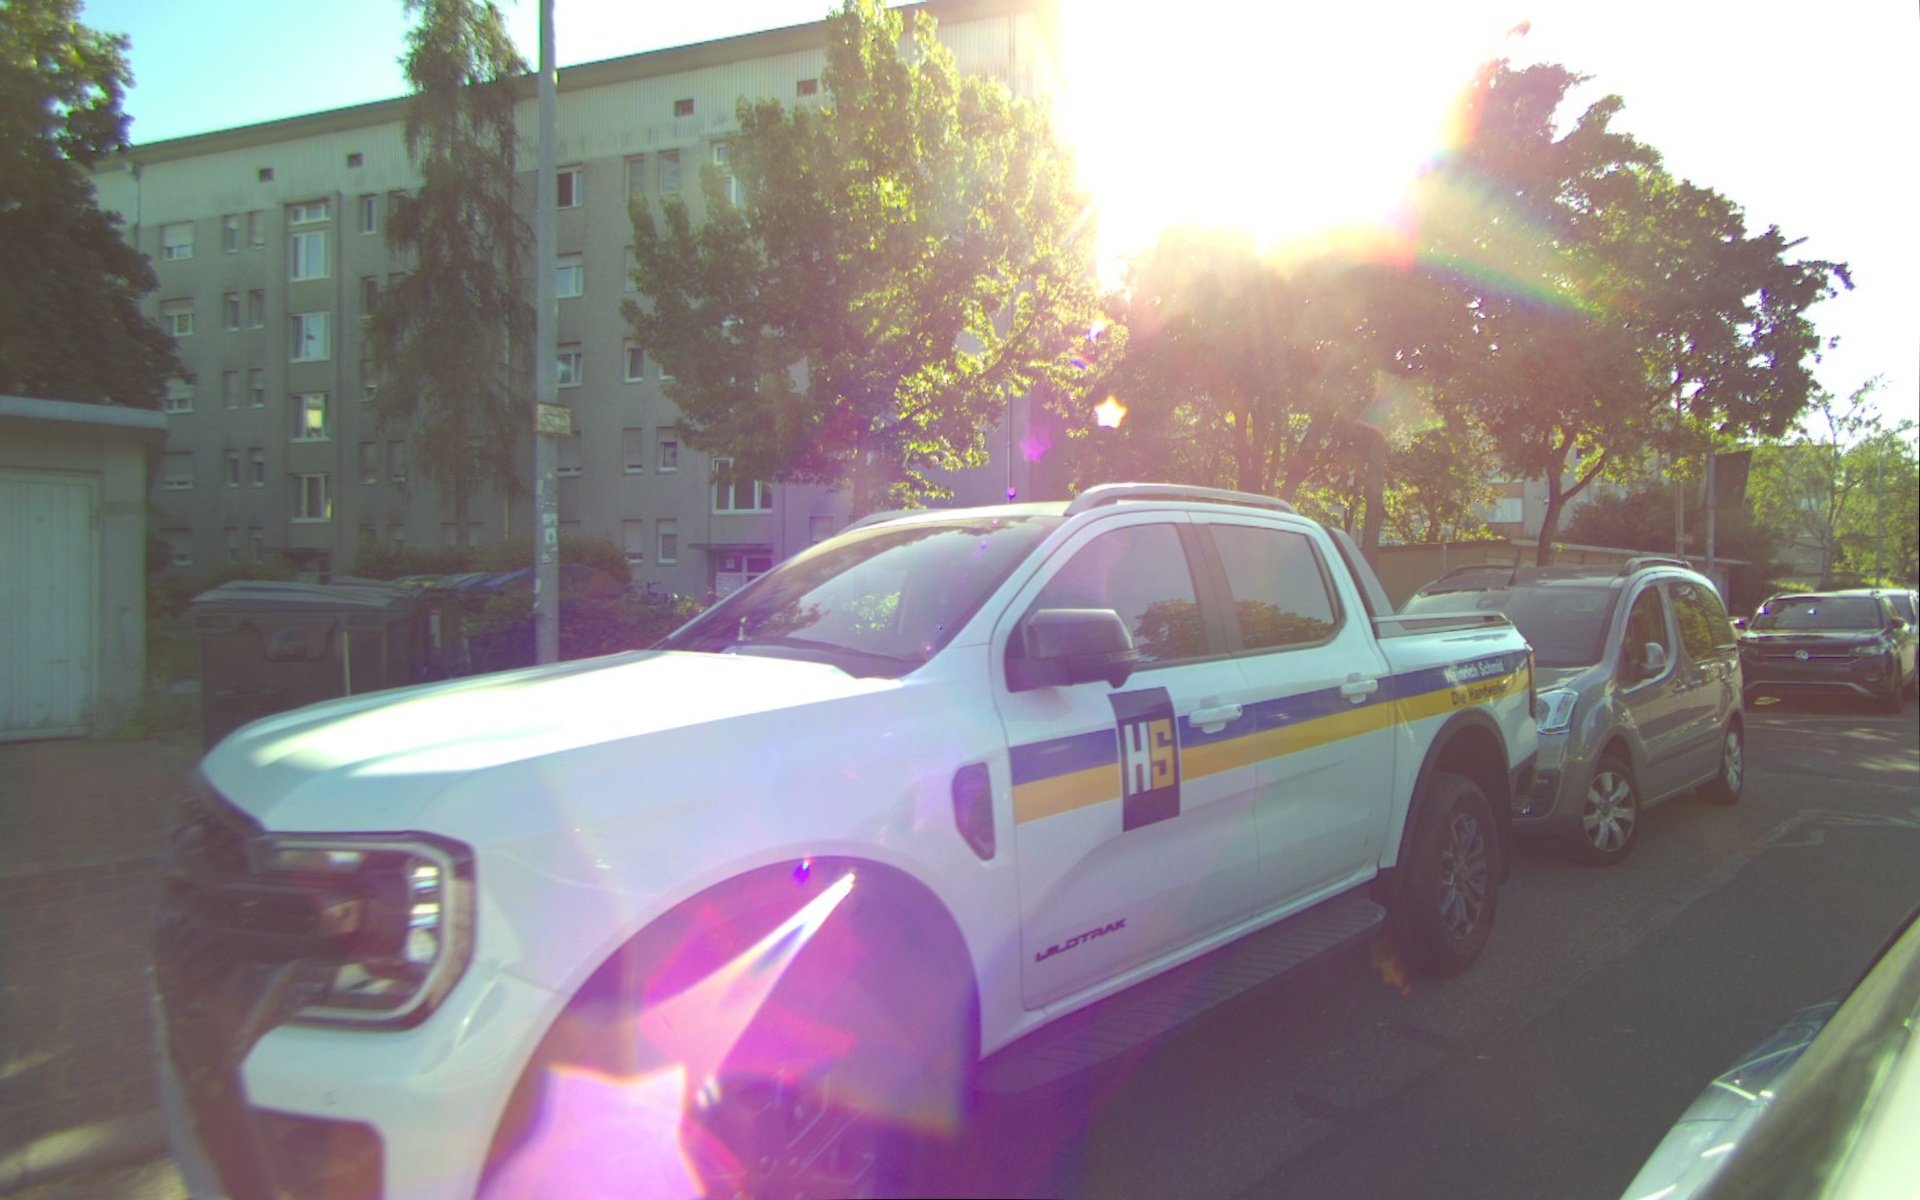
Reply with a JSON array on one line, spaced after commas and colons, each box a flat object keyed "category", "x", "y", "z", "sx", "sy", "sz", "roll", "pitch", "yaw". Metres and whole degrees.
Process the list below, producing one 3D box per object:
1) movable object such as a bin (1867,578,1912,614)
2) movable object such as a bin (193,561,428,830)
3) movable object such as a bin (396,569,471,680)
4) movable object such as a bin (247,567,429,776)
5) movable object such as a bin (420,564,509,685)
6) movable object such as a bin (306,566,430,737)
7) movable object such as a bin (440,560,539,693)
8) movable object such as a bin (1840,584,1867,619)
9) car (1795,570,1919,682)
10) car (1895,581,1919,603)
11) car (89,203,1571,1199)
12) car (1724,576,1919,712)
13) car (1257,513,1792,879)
[{"category": "movable object such as a bin", "x": 39.738, "y": -0.188, "z": 43.256, "sx": 1.160, "sy": 1.459, "sz": 1.276, "roll": -1, "pitch": 3, "yaw": -43}, {"category": "movable object such as a bin", "x": -3.756, "y": 0.467, "z": 5.965, "sx": 1.032, "sy": 1.364, "sz": 1.255, "roll": -2, "pitch": 1, "yaw": -30}, {"category": "movable object such as a bin", "x": -7.136, "y": 0.311, "z": 13.716, "sx": 0.695, "sy": 1.434, "sz": 0.898, "roll": -2, "pitch": 1, "yaw": -41}, {"category": "movable object such as a bin", "x": -4.540, "y": 0.453, "z": 7.469, "sx": 1.032, "sy": 1.364, "sz": 1.255, "roll": -2, "pitch": 1, "yaw": -30}, {"category": "movable object such as a bin", "x": -6.251, "y": 0.281, "z": 12.751, "sx": 0.818, "sy": 1.434, "sz": 1.079, "roll": -2, "pitch": 1, "yaw": -35}, {"category": "movable object such as a bin", "x": -5.111, "y": 0.398, "z": 8.779, "sx": 0.848, "sy": 1.364, "sz": 1.080, "roll": -2, "pitch": 1, "yaw": -30}, {"category": "movable object such as a bin", "x": -5.396, "y": 0.268, "z": 11.584, "sx": 0.818, "sy": 1.434, "sz": 1.079, "roll": -2, "pitch": 1, "yaw": -35}, {"category": "movable object such as a bin", "x": 38.600, "y": 0.057, "z": 43.735, "sx": 0.834, "sy": 1.459, "sz": 0.753, "roll": -1, "pitch": 3, "yaw": -43}, {"category": "car", "x": 15.989, "y": 0.352, "z": 17.486, "sx": 4.299, "sy": 1.629, "sz": 1.771, "roll": -1, "pitch": 6, "yaw": -43}, {"category": "car", "x": 67.795, "y": -0.585, "z": 70.745, "sx": 3.493, "sy": 1.527, "sz": 1.578, "roll": -2, "pitch": 0, "yaw": 44}, {"category": "car", "x": 0.280, "y": 0.468, "z": 3.678, "sx": 5.184, "sy": 1.864, "sz": 1.908, "roll": 0, "pitch": -2, "yaw": -43}, {"category": "car", "x": 12.232, "y": 0.518, "z": 14.094, "sx": 3.955, "sy": 1.614, "sz": 1.806, "roll": -1, "pitch": -1, "yaw": -42}, {"category": "car", "x": 4.200, "y": 0.497, "z": 7.185, "sx": 4.474, "sy": 1.814, "sz": 1.836, "roll": 0, "pitch": -2, "yaw": -40}]
